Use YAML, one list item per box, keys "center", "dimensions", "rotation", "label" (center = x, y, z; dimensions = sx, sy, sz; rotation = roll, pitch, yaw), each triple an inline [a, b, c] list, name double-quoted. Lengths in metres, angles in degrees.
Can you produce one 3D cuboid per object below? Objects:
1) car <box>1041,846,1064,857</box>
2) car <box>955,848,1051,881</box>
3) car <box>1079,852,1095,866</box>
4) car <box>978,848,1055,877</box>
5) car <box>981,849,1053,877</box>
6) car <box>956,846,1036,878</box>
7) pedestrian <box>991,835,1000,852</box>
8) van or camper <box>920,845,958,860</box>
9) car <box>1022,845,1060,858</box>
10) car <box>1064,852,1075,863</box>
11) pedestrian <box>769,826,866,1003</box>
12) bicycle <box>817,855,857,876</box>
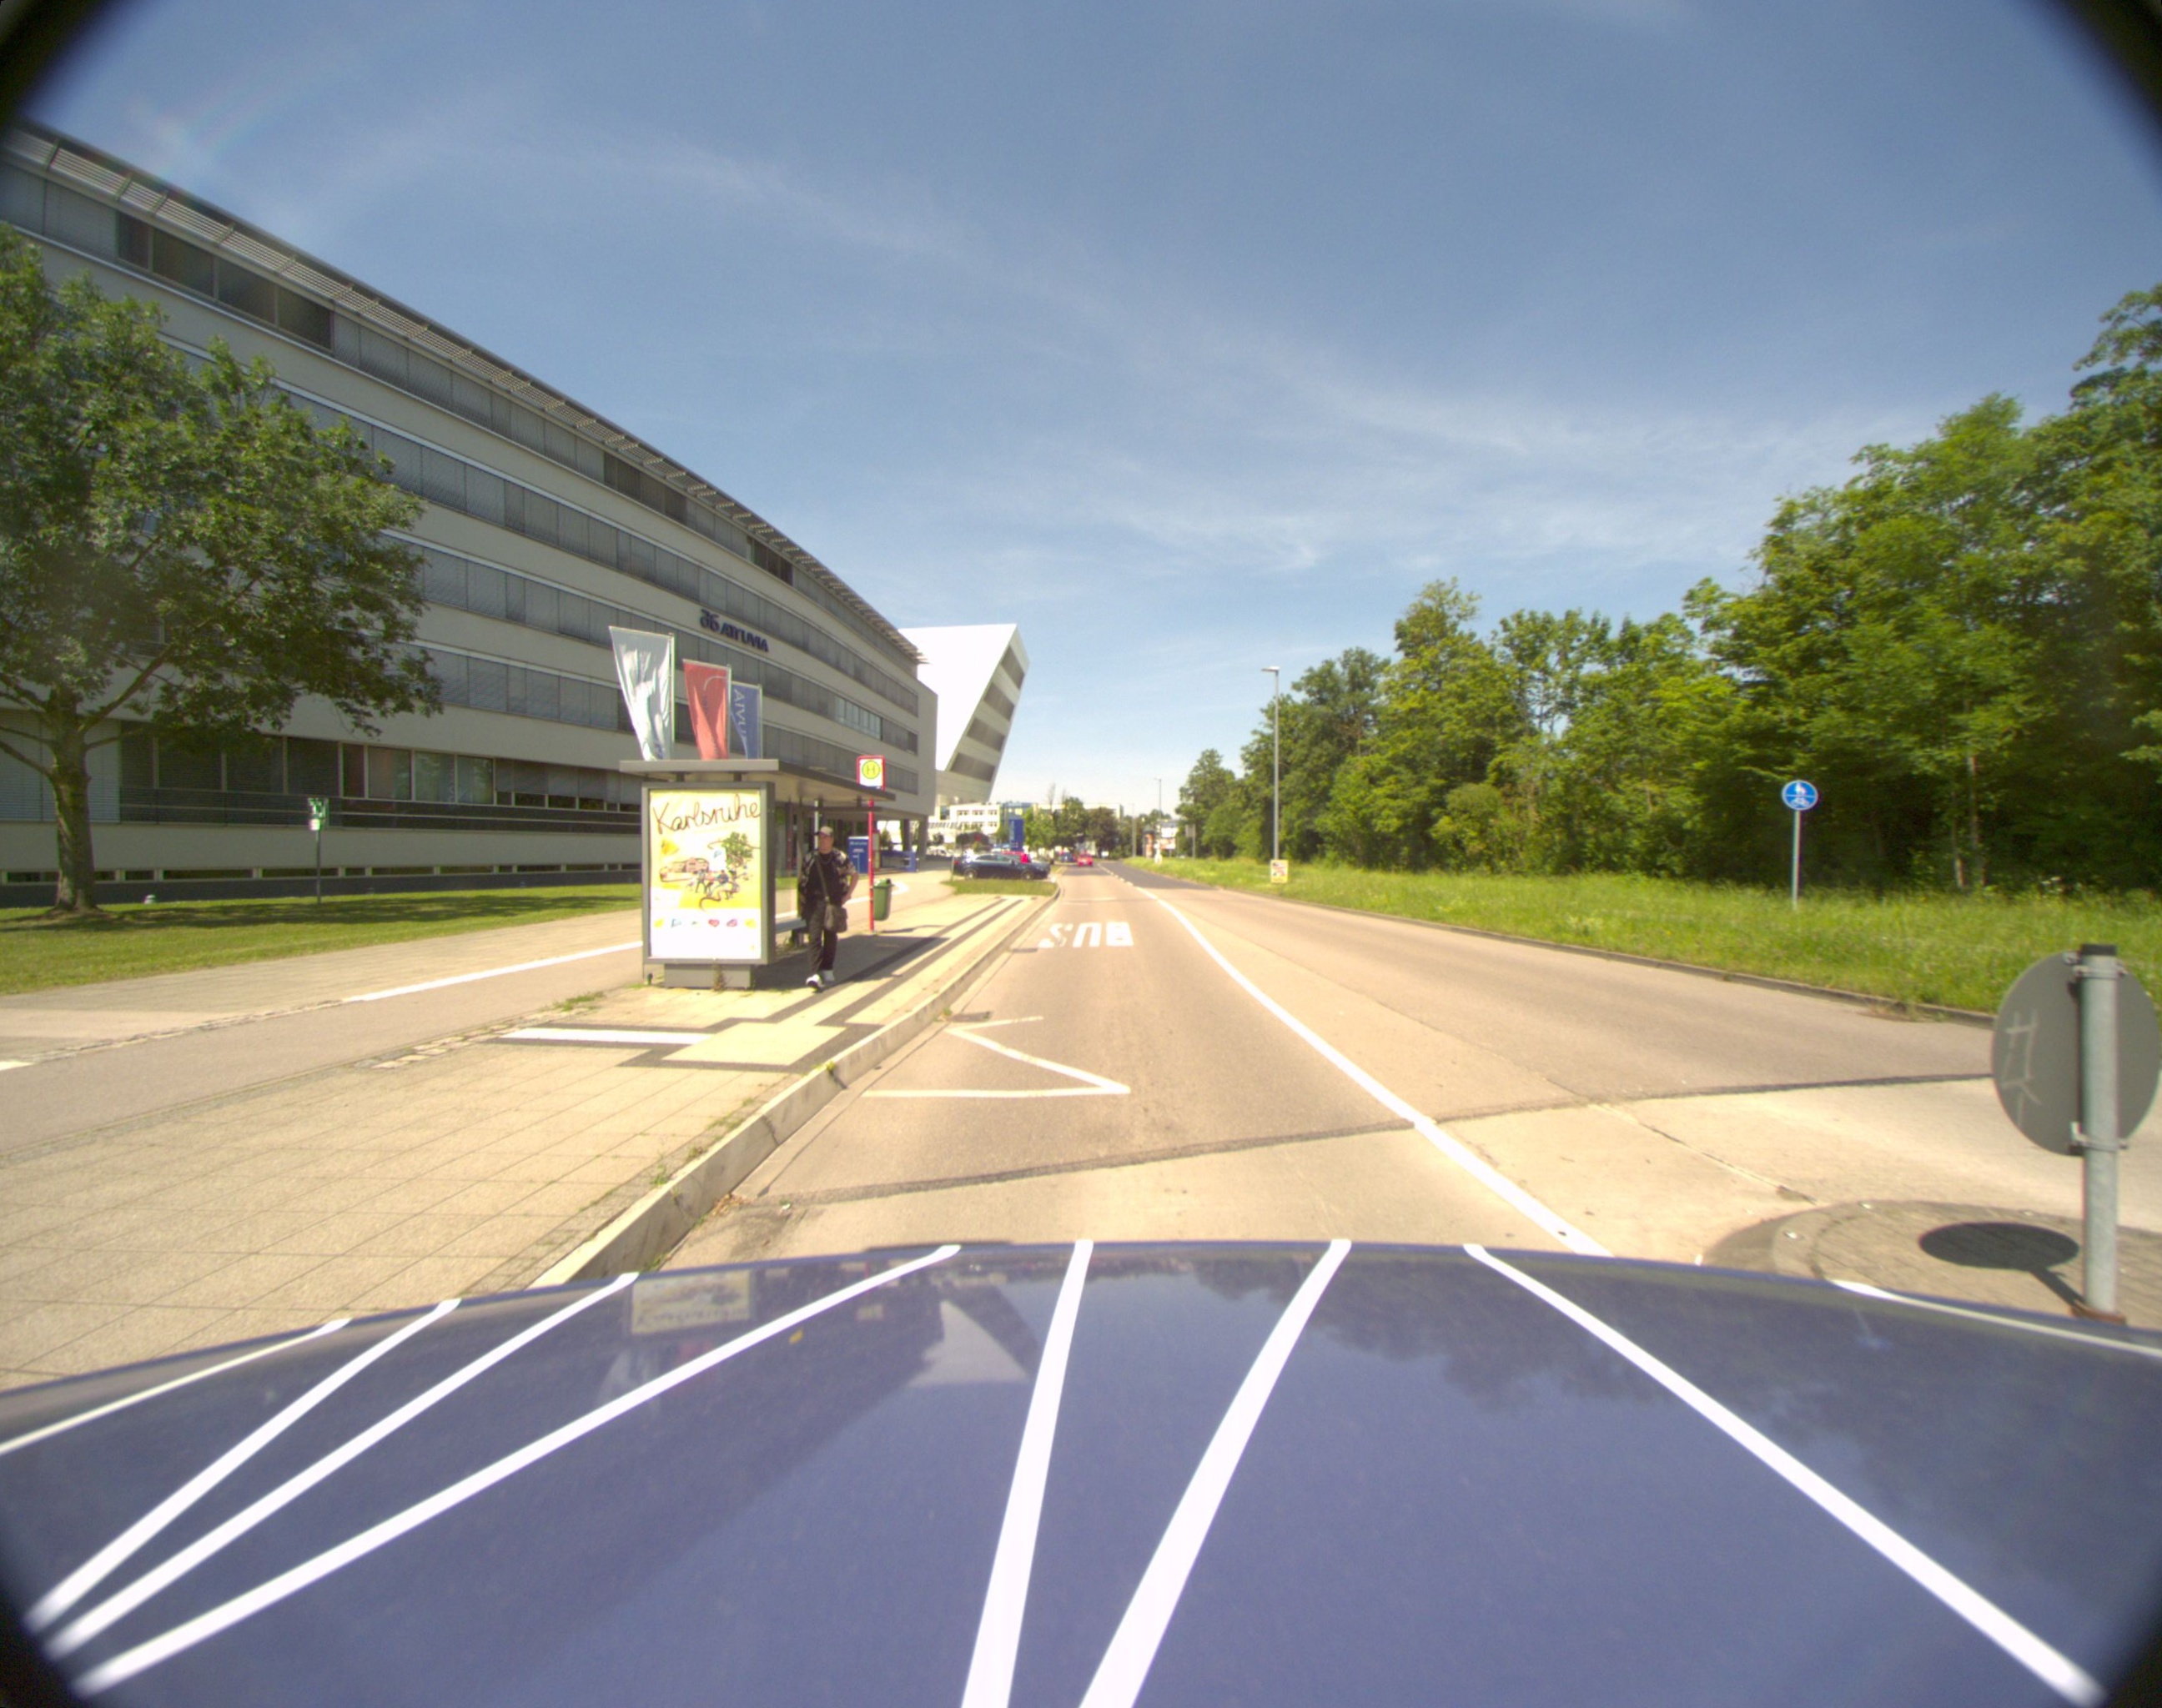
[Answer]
- center: [-5.392, -0.542, 144.615]
  dimensions: [4.204, 1.964, 1.704]
  rotation: [-1, 1, 6]
  label: "car"
- center: [-3.811, 0.508, 37.832]
  dimensions: [4.579, 1.424, 1.827]
  rotation: [2, 1, -1]
  label: "car"
- center: [0.714, 0.544, 84.430]
  dimensions: [1.662, 1.494, 3.357]
  rotation: [-1, 1, 2]
  label: "car"
- center: [-3.799, 0.505, 45.136]
  dimensions: [4.331, 1.554, 1.786]
  rotation: [1, 1, 1]
  label: "car"
- center: [-3.557, 0.500, 42.715]
  dimensions: [3.816, 1.477, 1.655]
  rotation: [1, 1, 2]
  label: "car"
- center: [-4.486, 0.416, 40.470]
  dimensions: [3.996, 1.645, 1.839]
  rotation: [0, 1, 2]
  label: "car"
- center: [-8.624, -1.056, 76.772]
  dimensions: [0.844, 1.650, 0.775]
  rotation: [-1, 1, -1]
  label: "pedestrian"
- center: [-22.746, -0.234, 121.816]
  dimensions: [5.699, 2.376, 1.704]
  rotation: [-1, 1, 6]
  label: "van or camper"
- center: [-7.286, -0.438, 138.879]
  dimensions: [6.492, 2.137, 2.165]
  rotation: [-1, 1, 6]
  label: "car"
- center: [-1.808, 0.540, 120.000]
  dimensions: [1.802, 1.490, 3.999]
  rotation: [-1, 1, -1]
  label: "car"
- center: [-2.846, 0.625, 8.265]
  dimensions: [0.710, 1.812, 0.826]
  rotation: [2, 1, 1]
  label: "pedestrian"
- center: [-12.682, 0.587, 39.494]
  dimensions: [1.881, 1.054, 0.534]
  rotation: [-1, 1, 4]
  label: "bicycle"
